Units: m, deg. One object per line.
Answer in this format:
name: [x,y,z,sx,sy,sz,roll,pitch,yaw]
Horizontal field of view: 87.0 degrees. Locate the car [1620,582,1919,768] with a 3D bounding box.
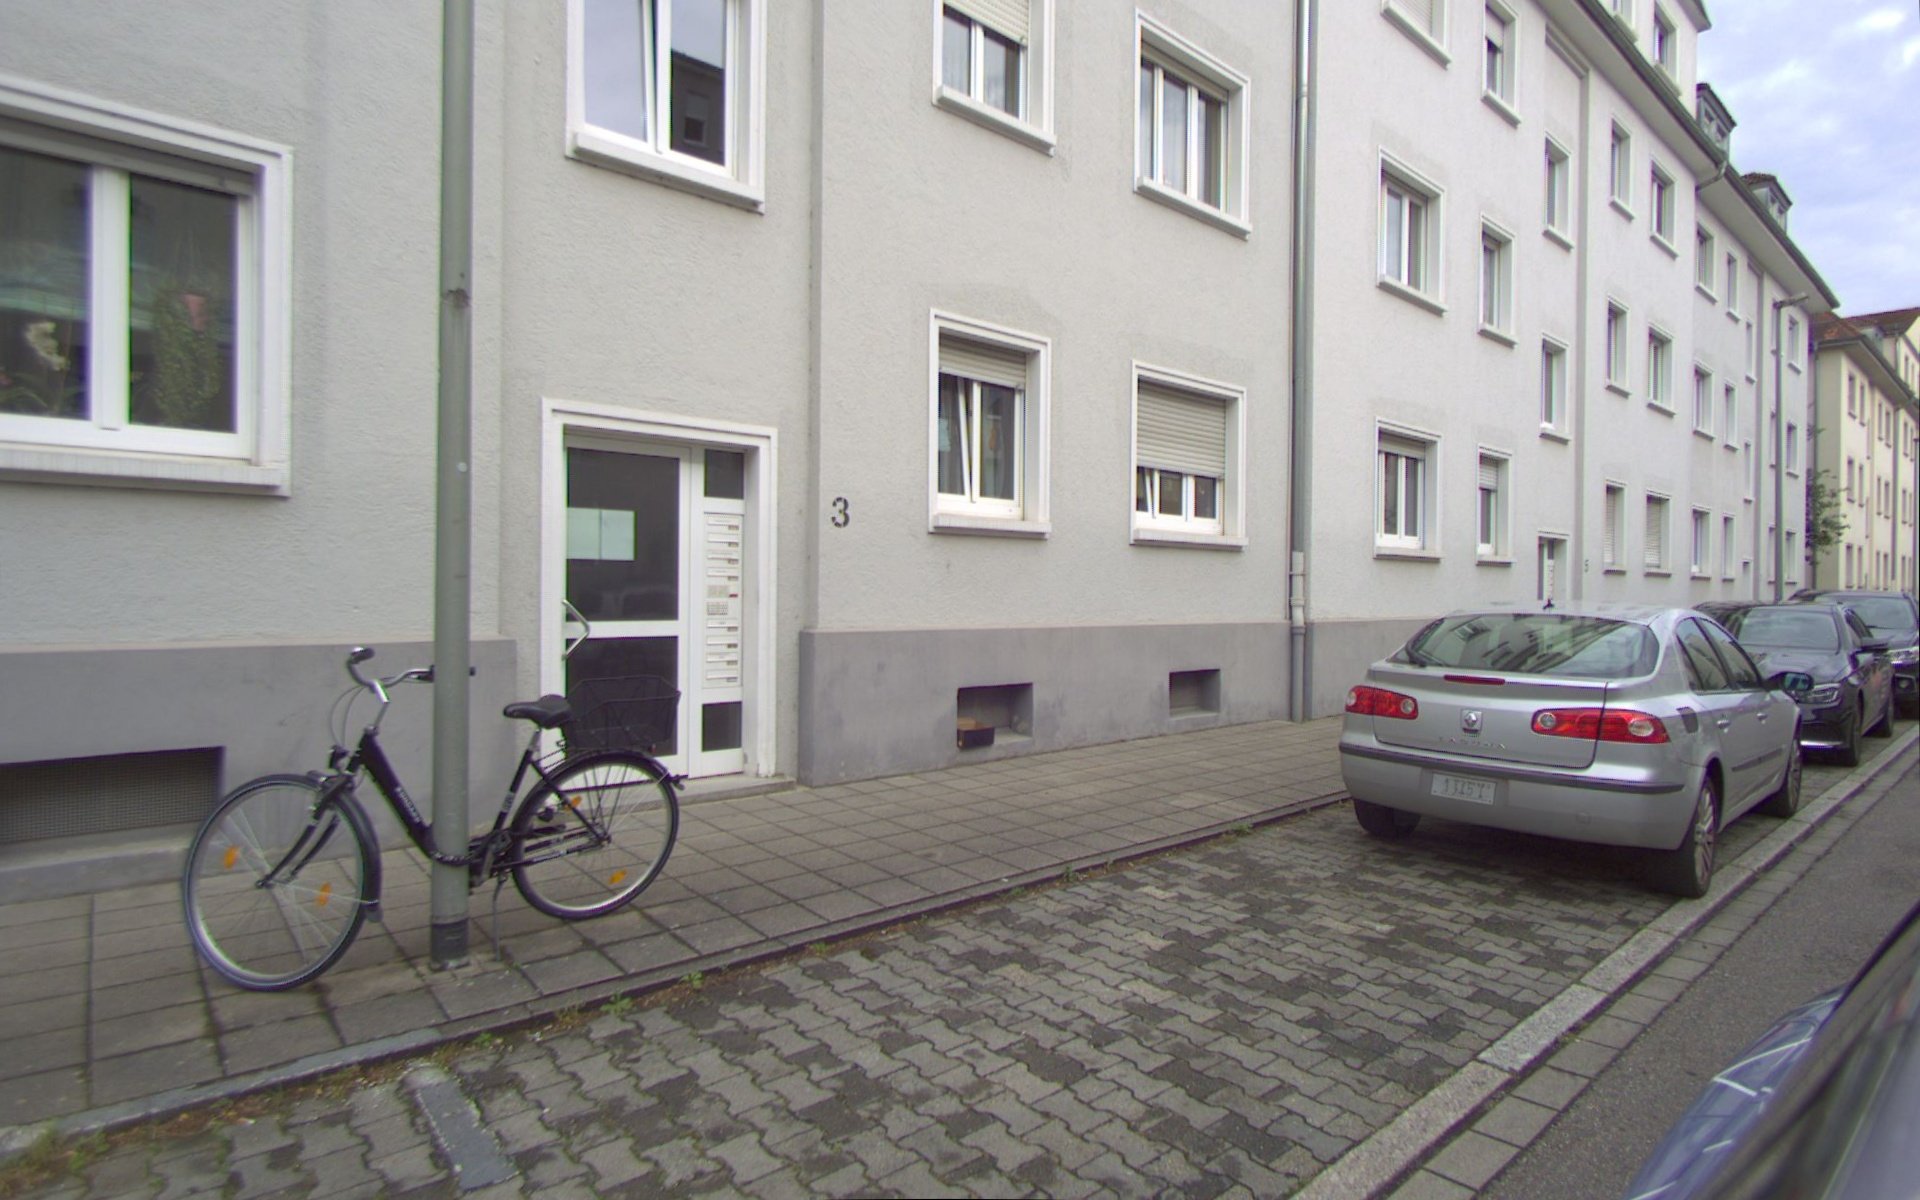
car: [8.370,0.598,10.304,4.250,1.481,1.784,0,1,-43]

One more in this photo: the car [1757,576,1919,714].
car: [12.442,0.529,13.814,4.090,1.619,1.850,0,1,-43]

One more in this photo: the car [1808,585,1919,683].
car: [15.992,0.527,17.311,3.691,1.505,1.735,0,1,-42]

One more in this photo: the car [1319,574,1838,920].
car: [4.190,0.622,6.498,4.356,1.481,1.734,0,1,-43]

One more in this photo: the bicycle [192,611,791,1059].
bicycle: [-1.639,0.674,3.744,1.862,1.215,0.750,0,2,-41]
